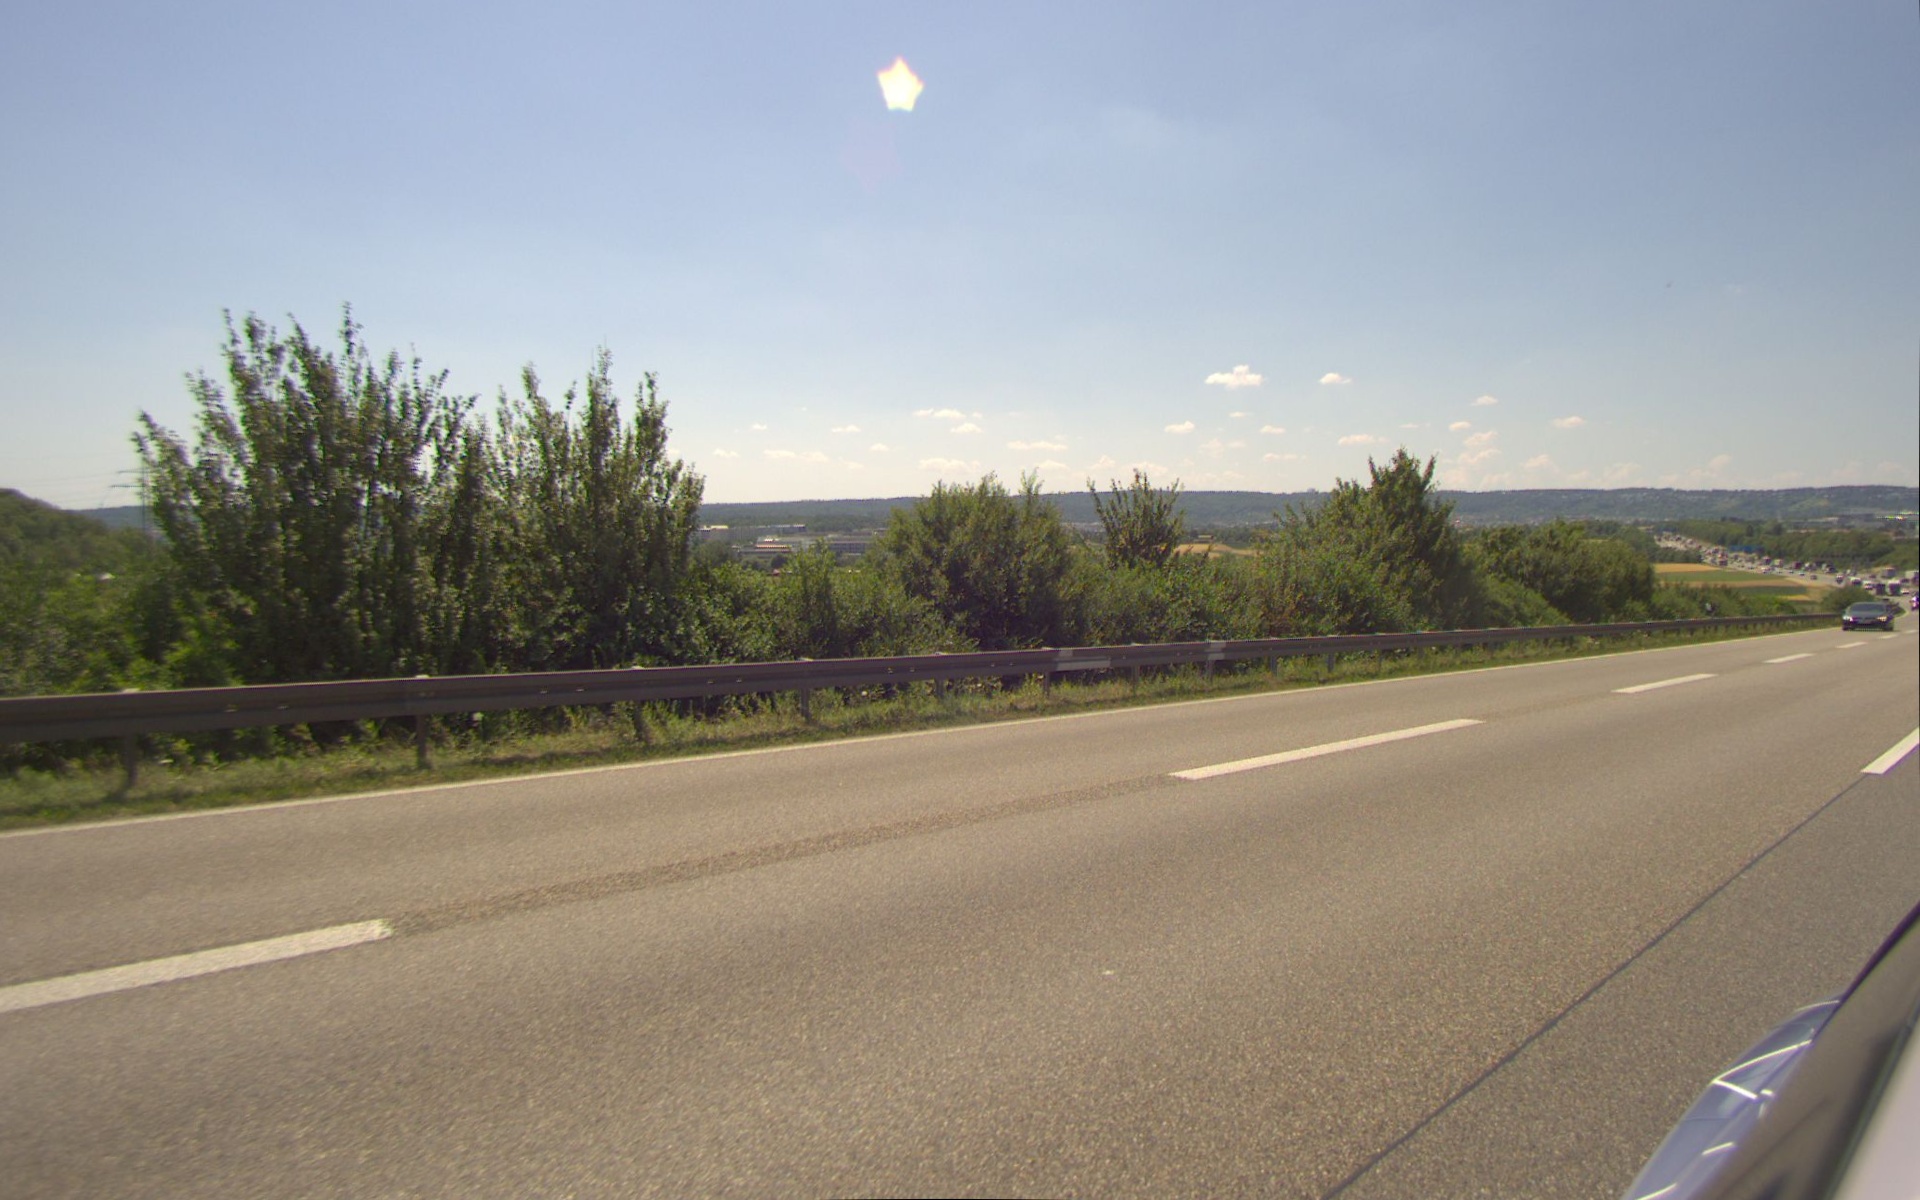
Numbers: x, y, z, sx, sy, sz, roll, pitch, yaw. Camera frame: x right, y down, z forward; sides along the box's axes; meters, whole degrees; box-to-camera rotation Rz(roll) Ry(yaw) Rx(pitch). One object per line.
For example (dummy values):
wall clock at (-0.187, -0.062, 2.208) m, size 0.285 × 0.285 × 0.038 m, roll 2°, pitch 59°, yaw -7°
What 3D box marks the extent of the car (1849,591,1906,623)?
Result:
car at (46.020, 0.318, 50.821) m, size 2.030 × 1.571 × 3.941 m, roll 0°, pitch 1°, yaw 41°
